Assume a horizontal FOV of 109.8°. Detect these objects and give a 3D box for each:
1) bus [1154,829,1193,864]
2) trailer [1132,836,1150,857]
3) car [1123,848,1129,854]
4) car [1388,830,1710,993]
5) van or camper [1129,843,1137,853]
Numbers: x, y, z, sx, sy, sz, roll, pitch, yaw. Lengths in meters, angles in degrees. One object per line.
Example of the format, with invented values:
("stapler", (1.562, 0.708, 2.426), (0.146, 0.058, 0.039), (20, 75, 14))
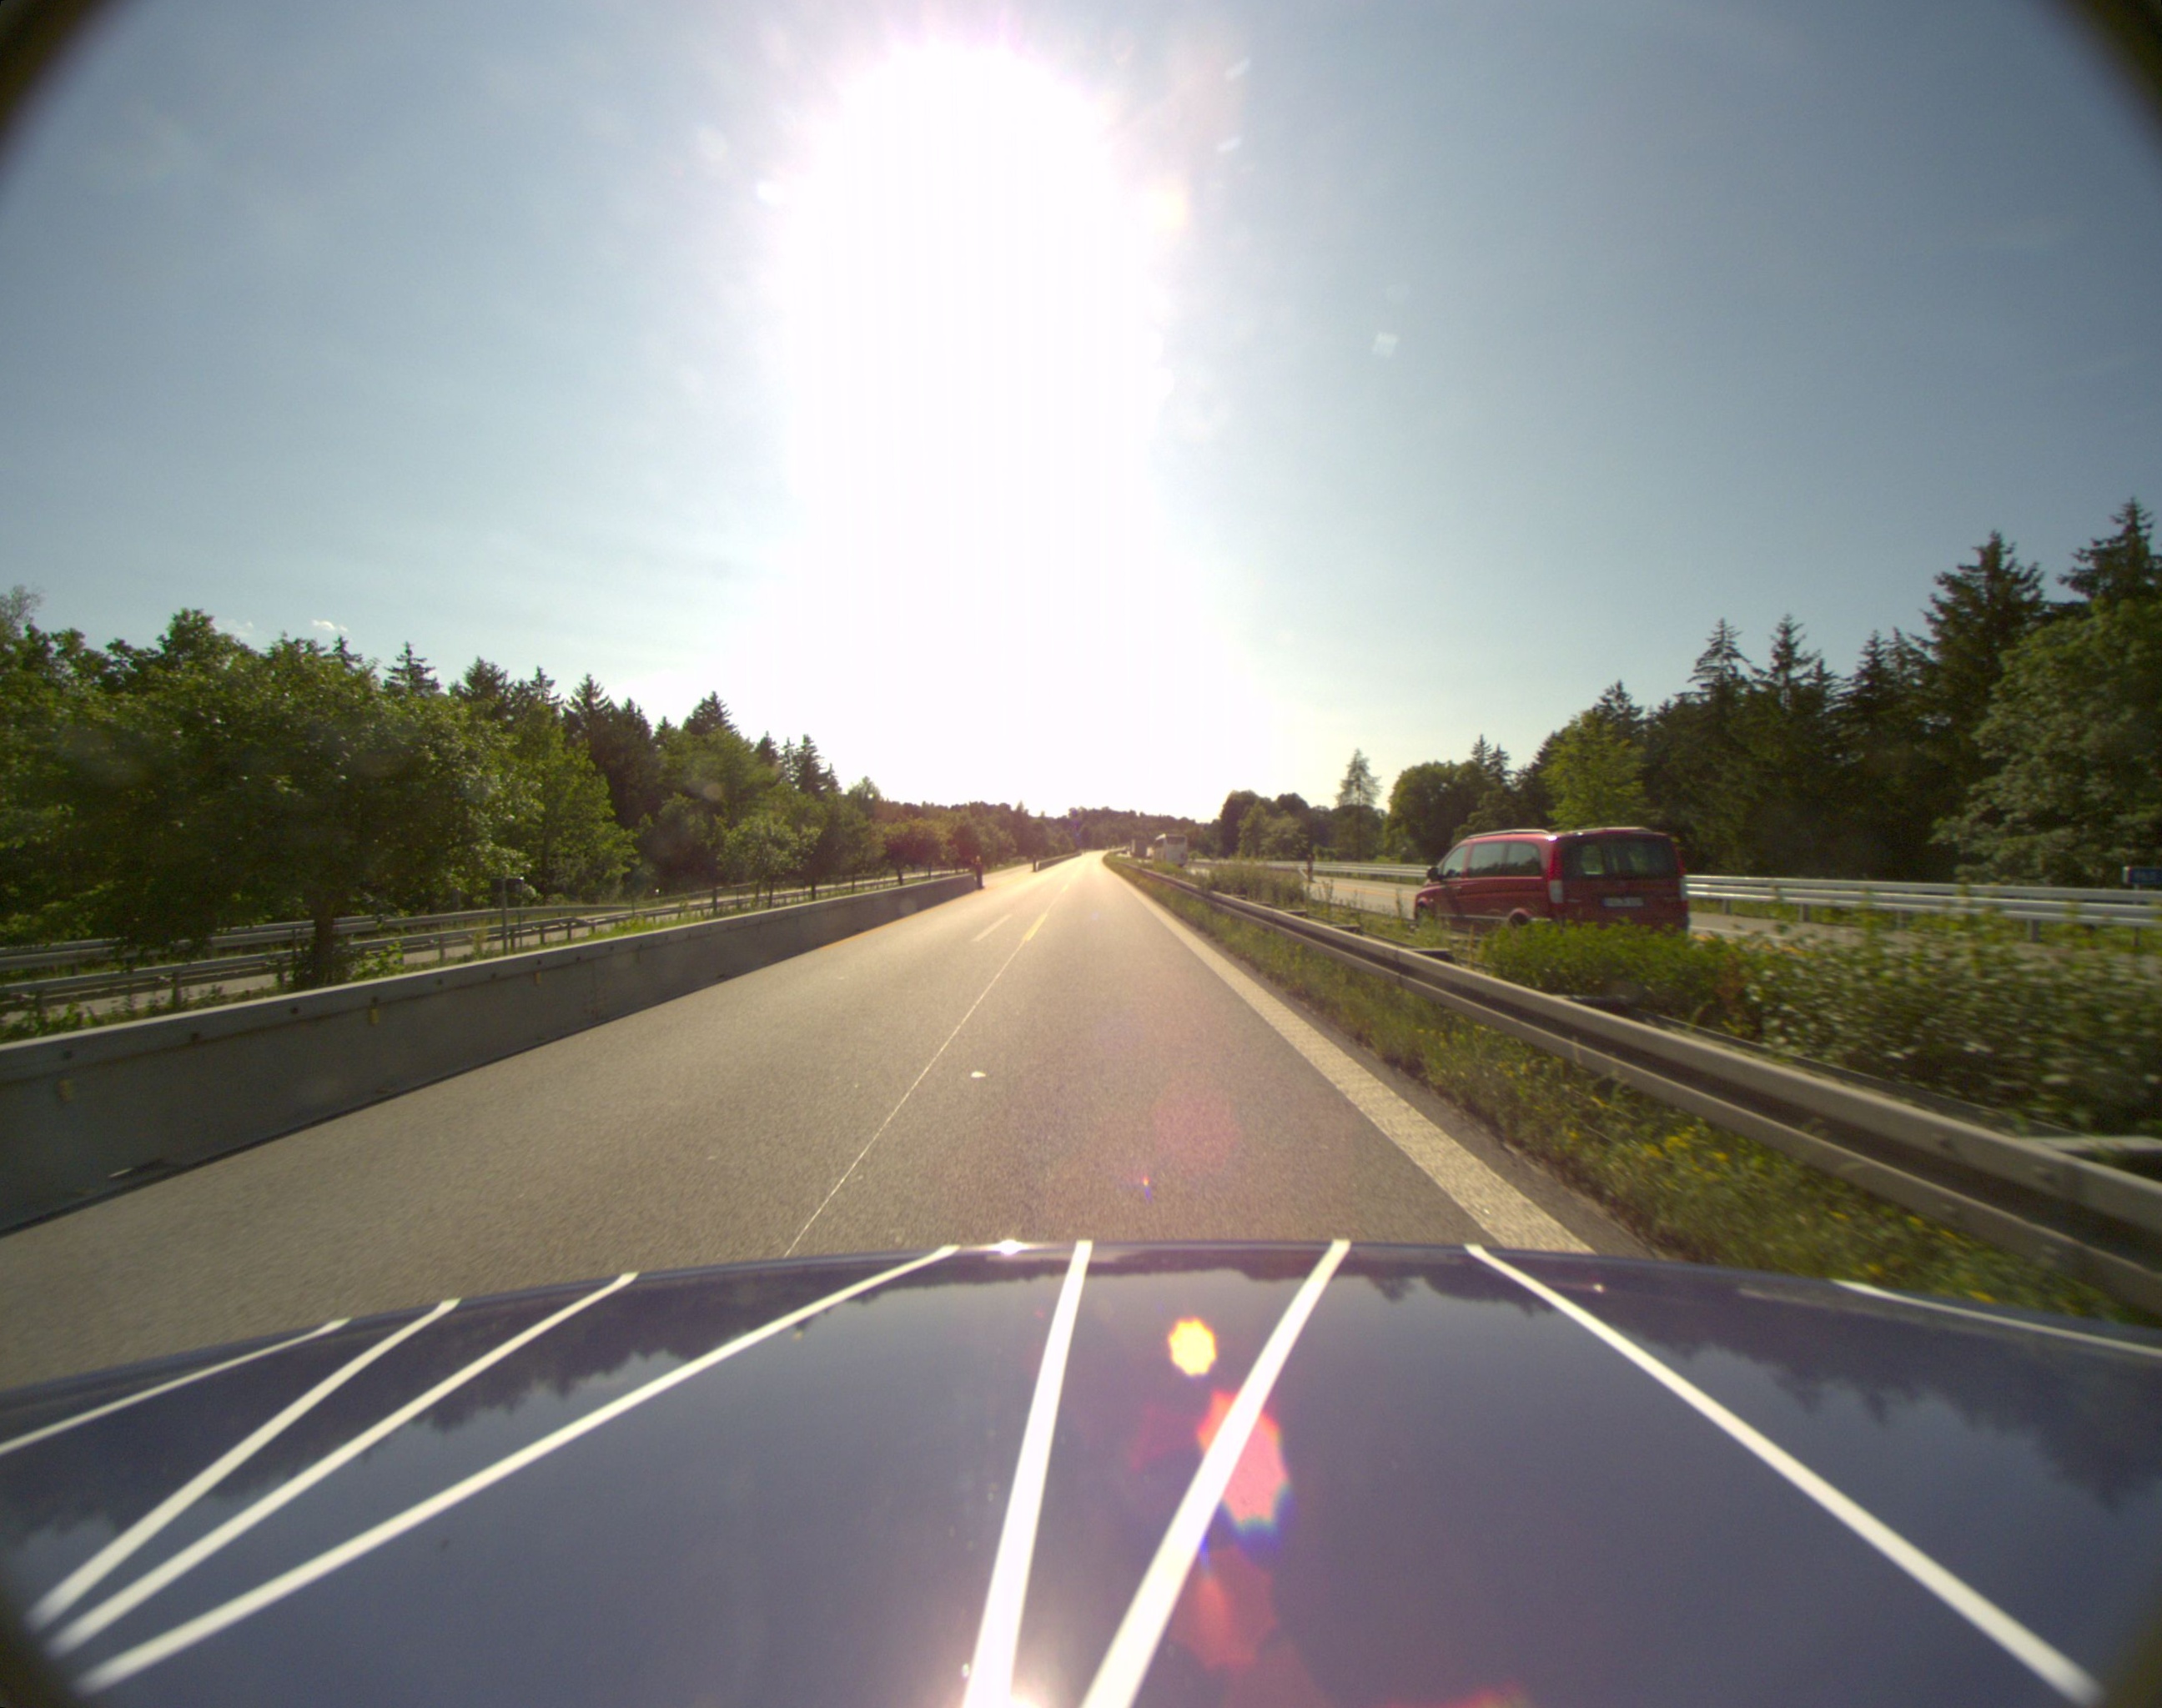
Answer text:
("bus", (10.448, -0.859, 87.300), (2.889, 3.649, 12.916), (-1, 0, 0))
("trailer", (12.541, -1.548, 159.796), (2.748, 4.047, 13.995), (1, 1, 1))
("car", (14.111, -0.951, 236.504), (1.746, 1.521, 4.000), (2, 1, 2))
("car", (6.940, 0.707, 12.231), (1.878, 1.962, 5.577), (-2, 0, 2))
("van or camper", (15.626, -1.774, 228.924), (2.411, 2.933, 7.523), (0, 1, 2))
